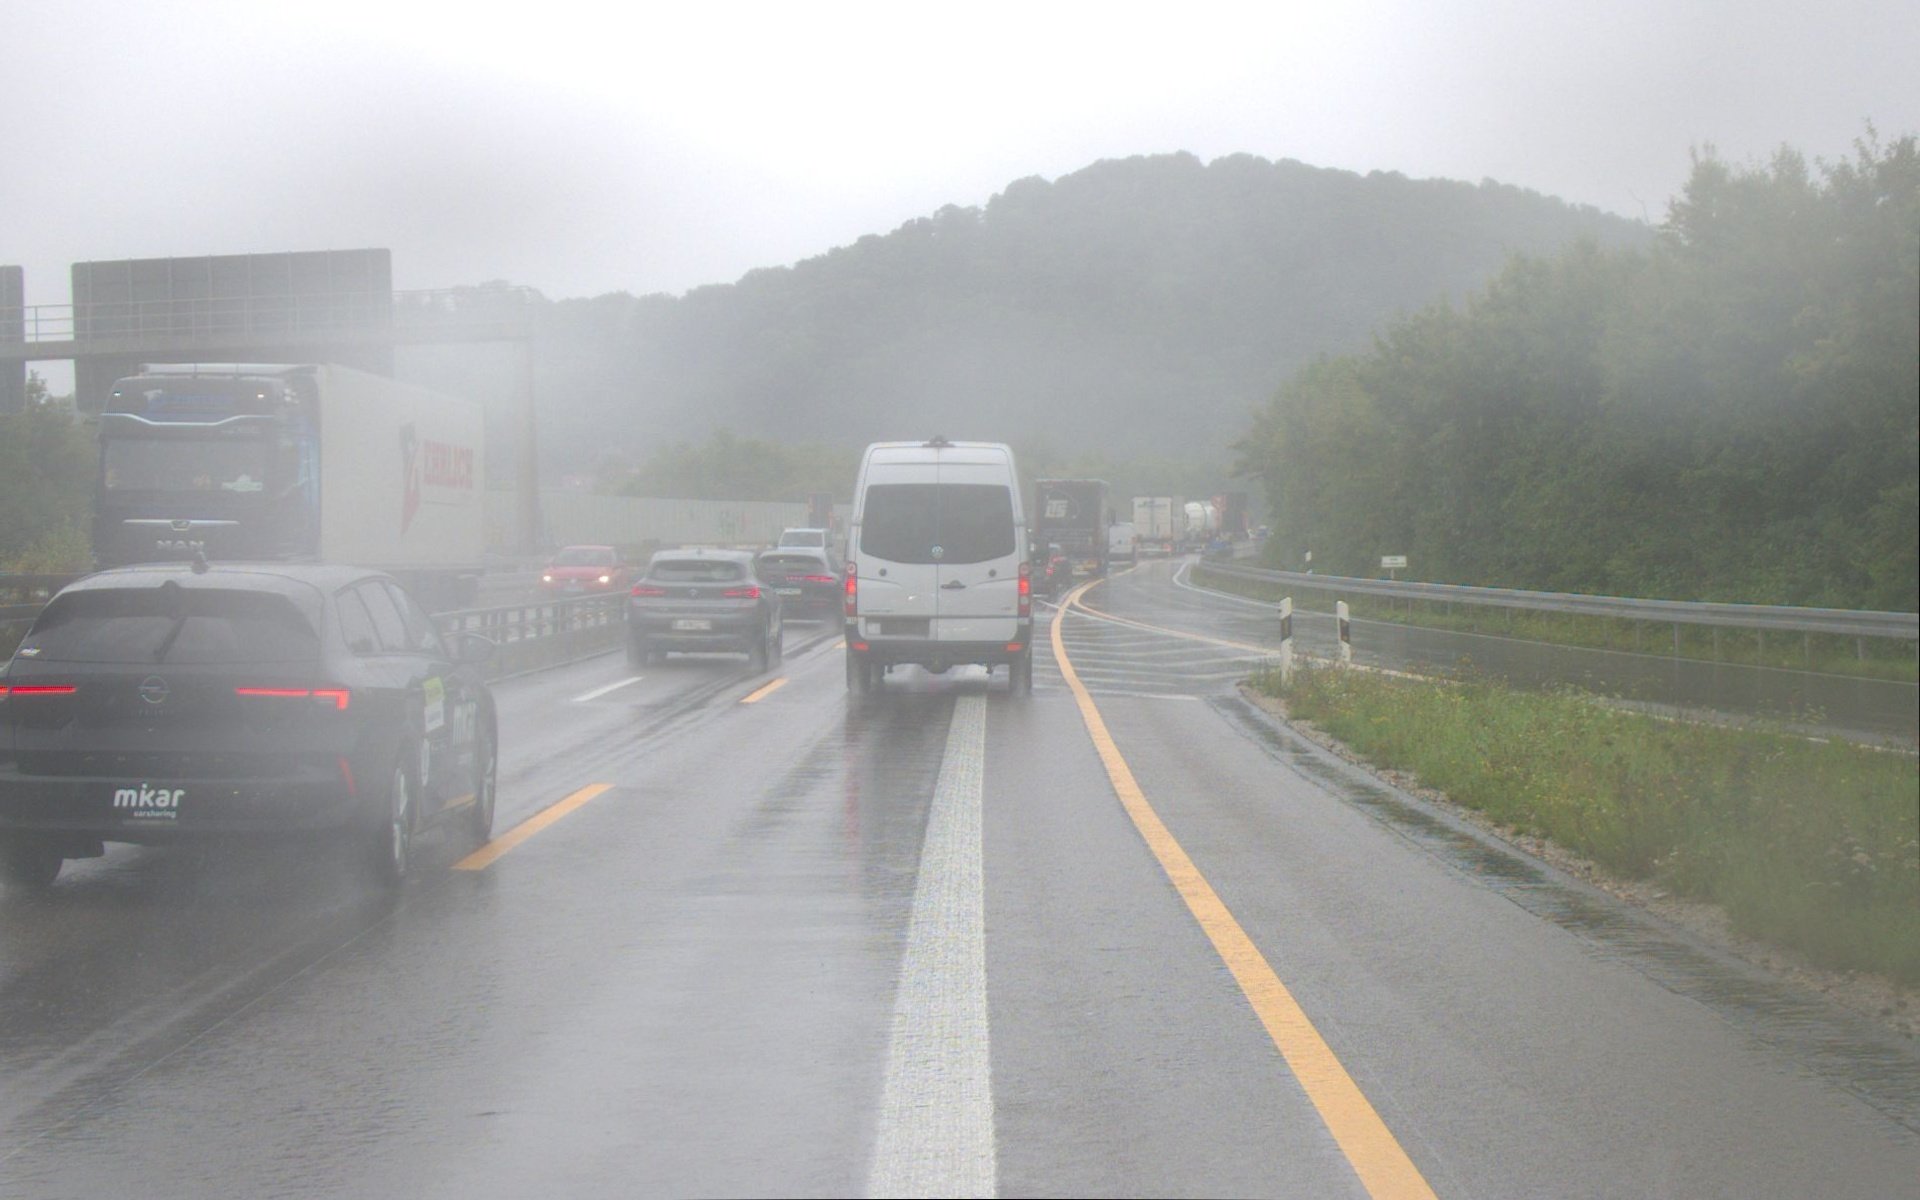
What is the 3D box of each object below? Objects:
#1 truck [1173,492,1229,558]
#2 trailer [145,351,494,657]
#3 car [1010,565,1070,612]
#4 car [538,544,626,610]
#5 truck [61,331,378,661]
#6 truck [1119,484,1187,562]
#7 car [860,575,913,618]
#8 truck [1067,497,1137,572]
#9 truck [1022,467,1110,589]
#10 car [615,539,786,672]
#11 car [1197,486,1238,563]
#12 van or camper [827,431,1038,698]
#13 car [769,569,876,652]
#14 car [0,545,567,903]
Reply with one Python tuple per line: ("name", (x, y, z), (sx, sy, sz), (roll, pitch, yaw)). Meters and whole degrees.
("truck", (18.255, -5.622, 260.105), (3.929, 4.768, 9.905), (1, 0, 5))
("trailer", (-9.844, -1.361, 54.585), (2.893, 4.272, 12.894), (0, 0, 1))
("car", (2.188, -0.333, 94.504), (1.384, 1.252, 3.123), (0, 1, -3))
("car", (-9.087, -0.548, 82.841), (1.608, 1.499, 4.217), (1, 0, 0))
("truck", (-10.026, -1.338, 47.234), (2.889, 4.217, 6.326), (0, 0, 1))
("truck", (12.465, -4.924, 221.649), (3.929, 4.768, 9.905), (1, 0, 5))
("car", (-1.869, -0.102, 88.263), (1.262, 1.074, 3.254), (0, 1, 0))
("truck", (7.471, -3.425, 182.589), (3.320, 3.749, 9.907), (1, 0, 1))
("truck", (4.283, -2.893, 141.297), (3.320, 4.768, 9.907), (1, 0, 1))
("car", (-3.369, 0.049, 45.255), (1.867, 1.653, 3.988), (0, 1, 1))
("car", (14.258, -4.127, 190.397), (2.058, 4.177, 6.745), (0, 1, 3))
("van or camper", (-0.230, -0.388, 37.420), (2.139, 2.712, 4.648), (0, 1, 1))
("car", (-2.551, 0.170, 64.500), (1.852, 1.495, 4.000), (0, 1, 0))
("car", (-3.045, 0.479, 16.300), (1.938, 1.422, 4.760), (1, 1, -2))
